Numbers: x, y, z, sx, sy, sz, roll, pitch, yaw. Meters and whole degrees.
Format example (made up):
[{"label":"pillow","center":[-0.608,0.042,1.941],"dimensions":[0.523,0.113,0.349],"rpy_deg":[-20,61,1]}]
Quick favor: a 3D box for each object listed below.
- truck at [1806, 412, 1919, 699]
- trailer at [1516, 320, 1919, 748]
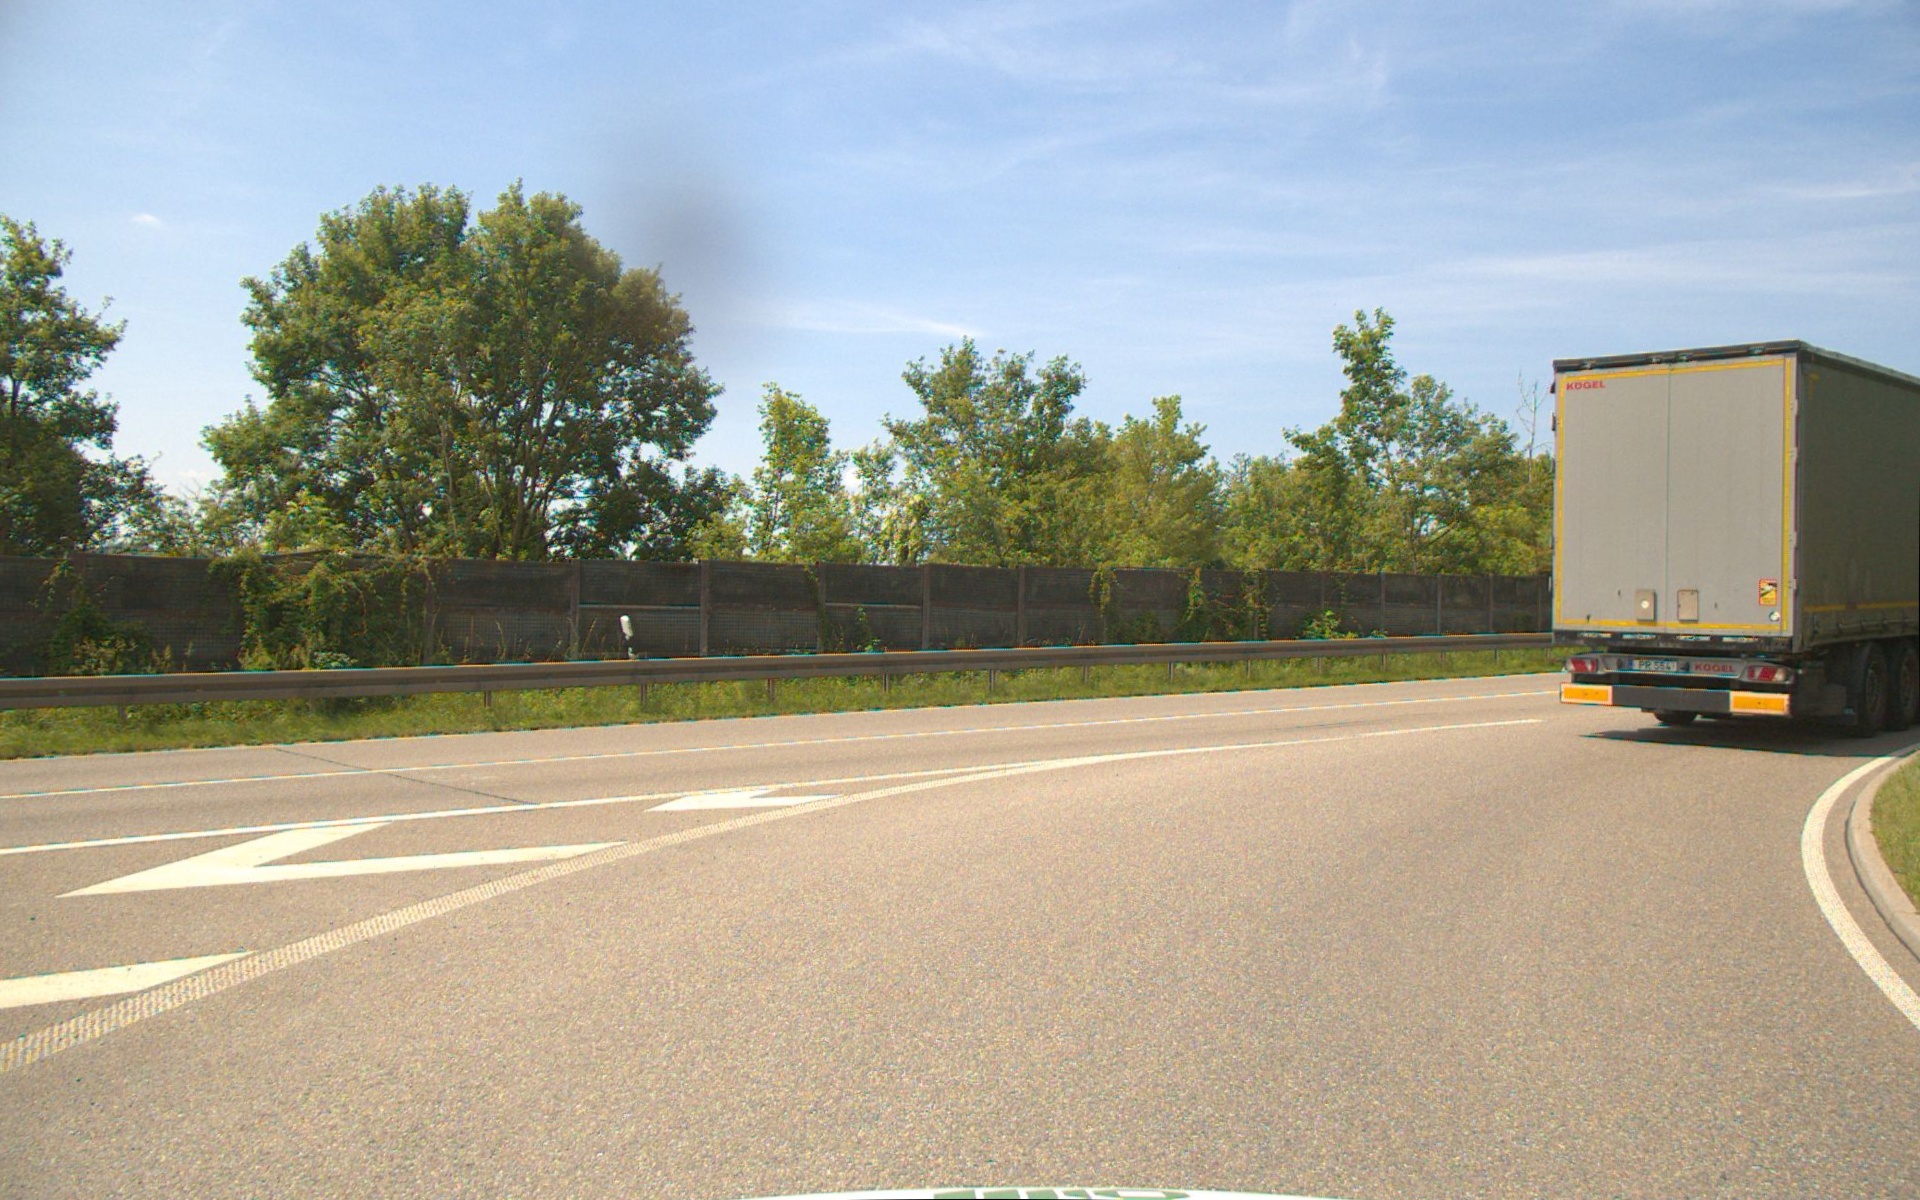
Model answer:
[{"label":"truck","center":[17.026,-0.612,27.175],"dimensions":[7.054,4.299,3.118],"rpy_deg":[1,-1,-40]},{"label":"trailer","center":[11.661,-0.601,21.717],"dimensions":[2.985,4.105,13.261],"rpy_deg":[0,0,43]}]
